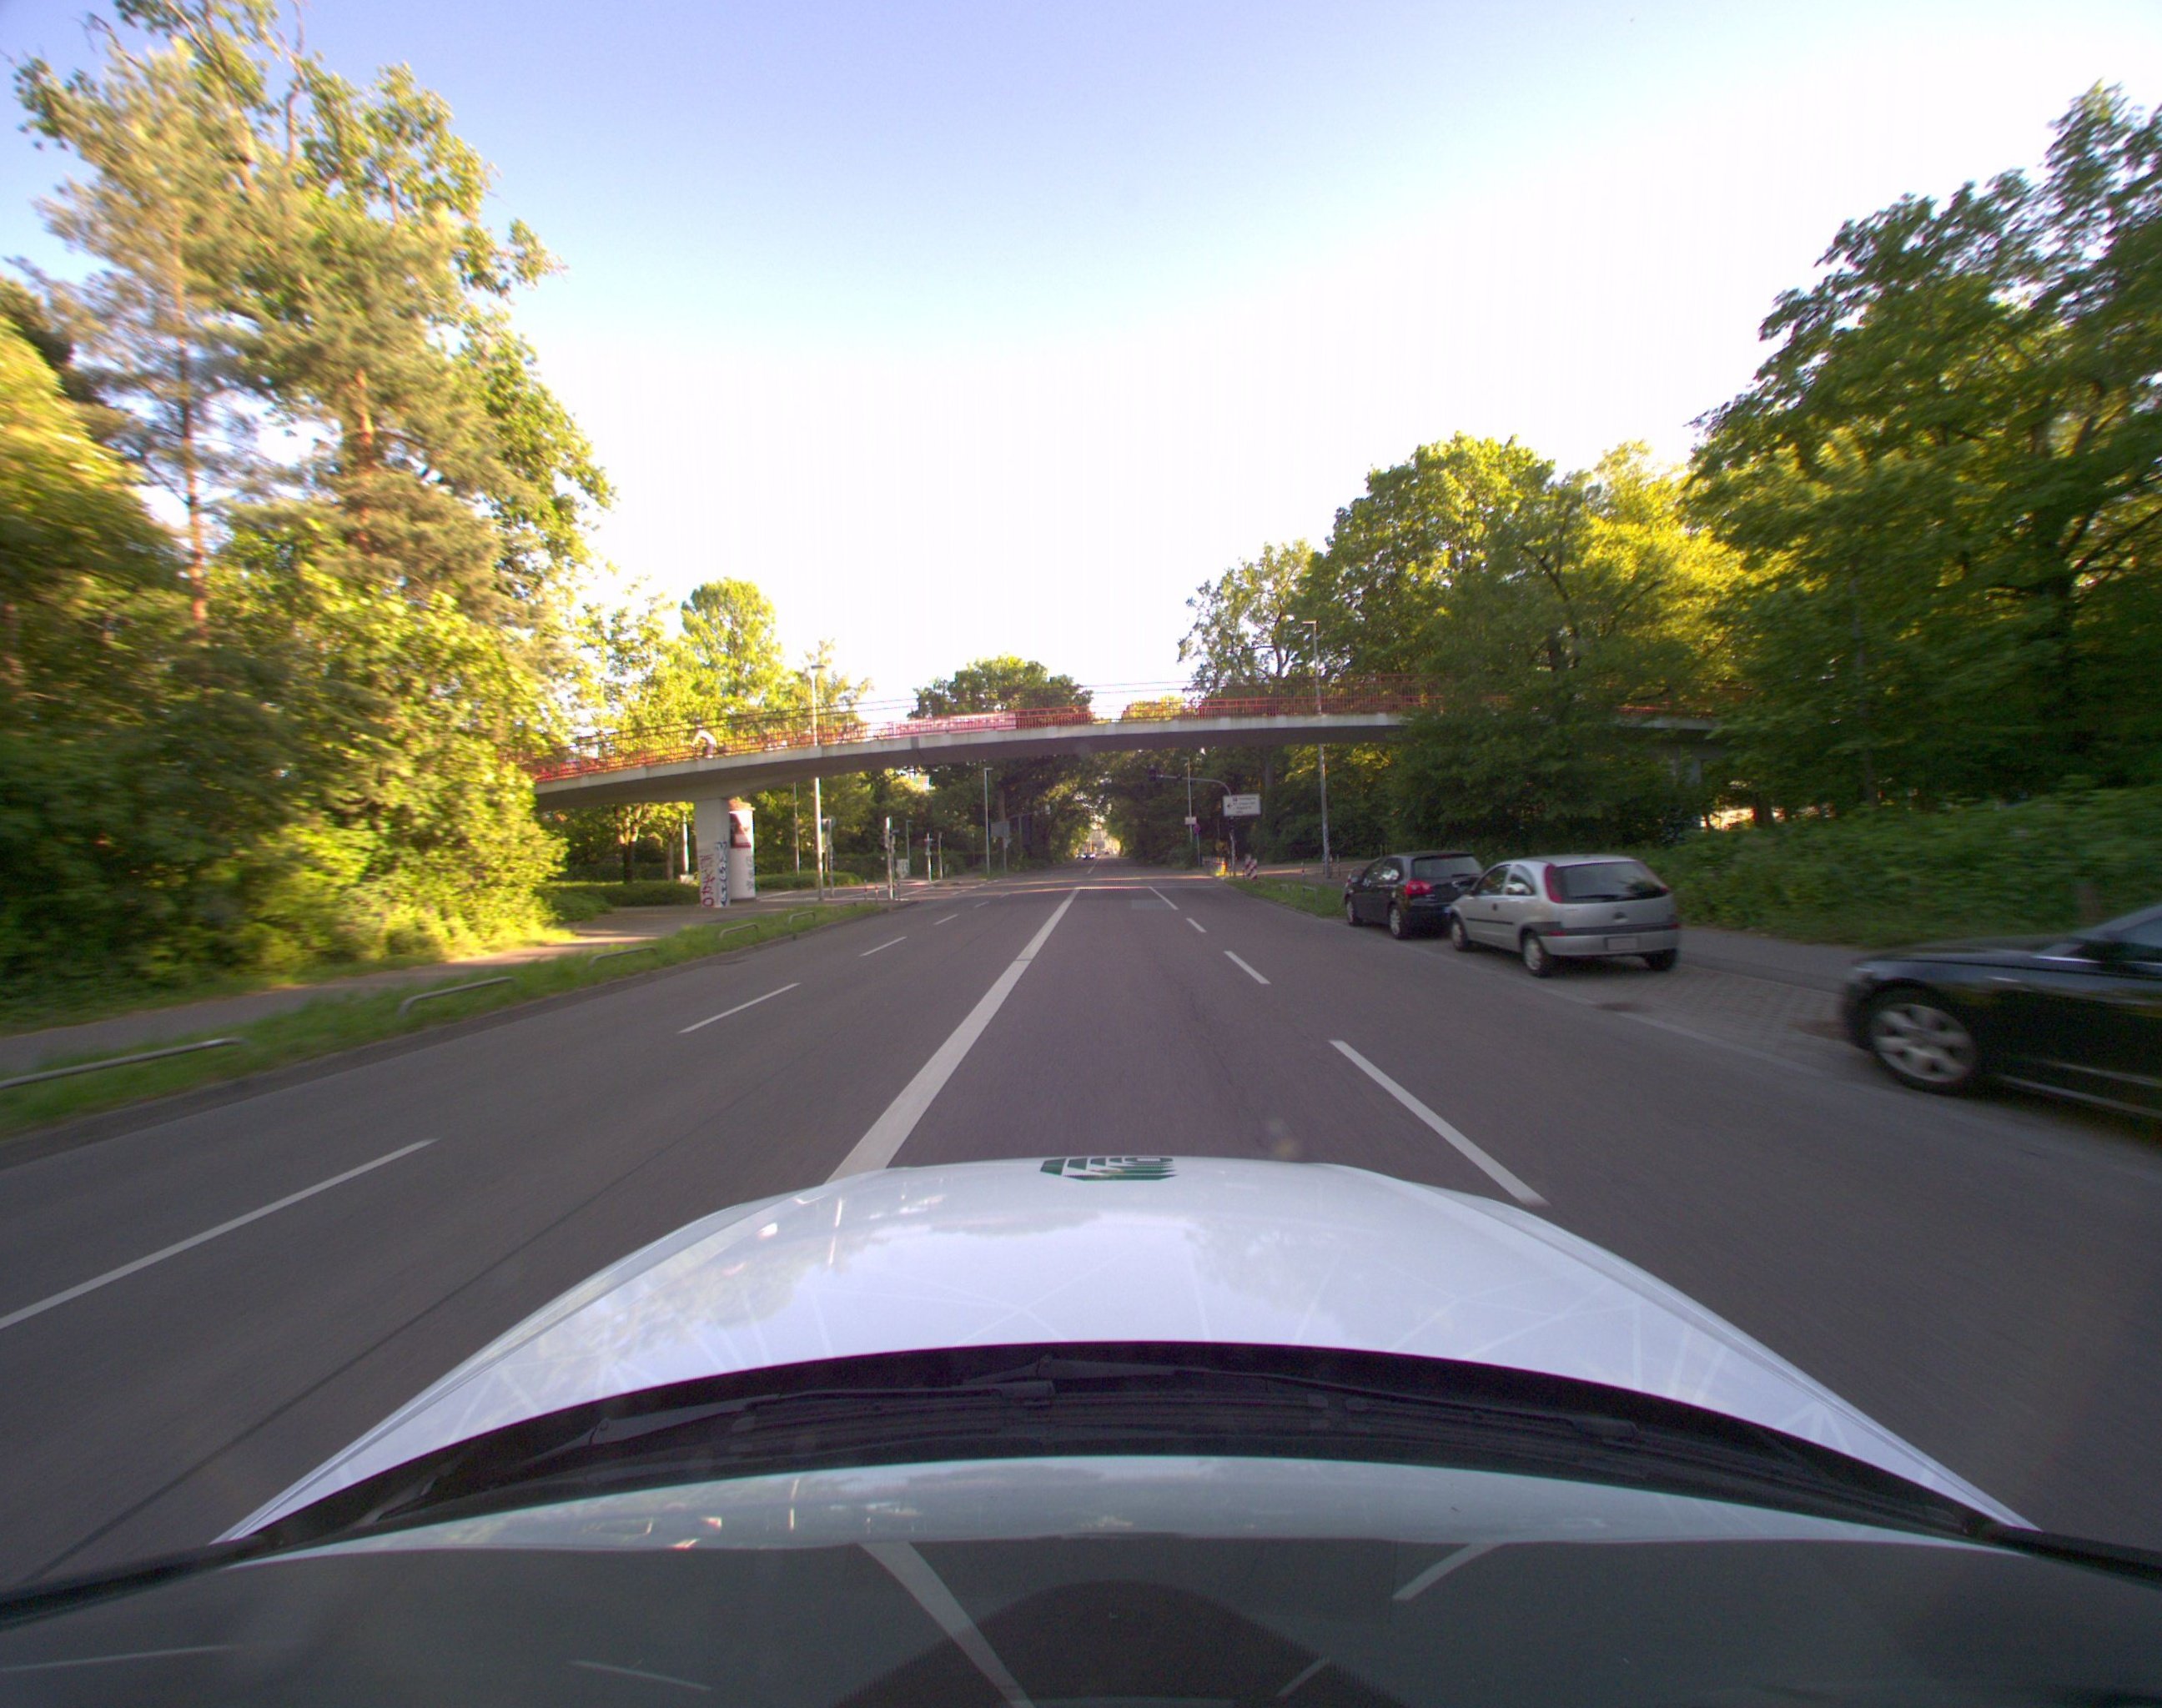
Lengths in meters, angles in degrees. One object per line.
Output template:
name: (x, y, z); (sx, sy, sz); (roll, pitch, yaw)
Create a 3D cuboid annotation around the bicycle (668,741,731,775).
bicycle: (-14.099, -3.540, 30.127); (1.981, 1.147, 0.714); (-1, -1, -1)

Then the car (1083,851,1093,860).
car: (1.325, 0.289, 152.697); (1.881, 1.506, 4.364); (-3, 0, 1)

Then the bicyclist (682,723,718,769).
bicyclist: (-14.088, -3.978, 30.135); (0.967, 1.586, 0.714); (-1, -1, 0)

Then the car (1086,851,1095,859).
car: (2.077, 0.261, 177.387); (1.791, 1.506, 4.364); (-3, 0, 1)

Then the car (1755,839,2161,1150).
car: (6.093, 0.668, 3.758); (1.768, 1.453, 5.037); (-3, 0, 0)

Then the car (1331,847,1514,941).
car: (6.315, 0.666, 15.661); (1.767, 1.453, 4.390); (-3, 0, 2)

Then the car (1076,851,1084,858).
car: (-0.216, 0.158, 191.725); (1.791, 1.506, 4.364); (-3, 0, 1)

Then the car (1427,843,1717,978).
car: (6.413, 0.647, 11.247); (1.766, 1.453, 4.019); (-3, 0, 4)
